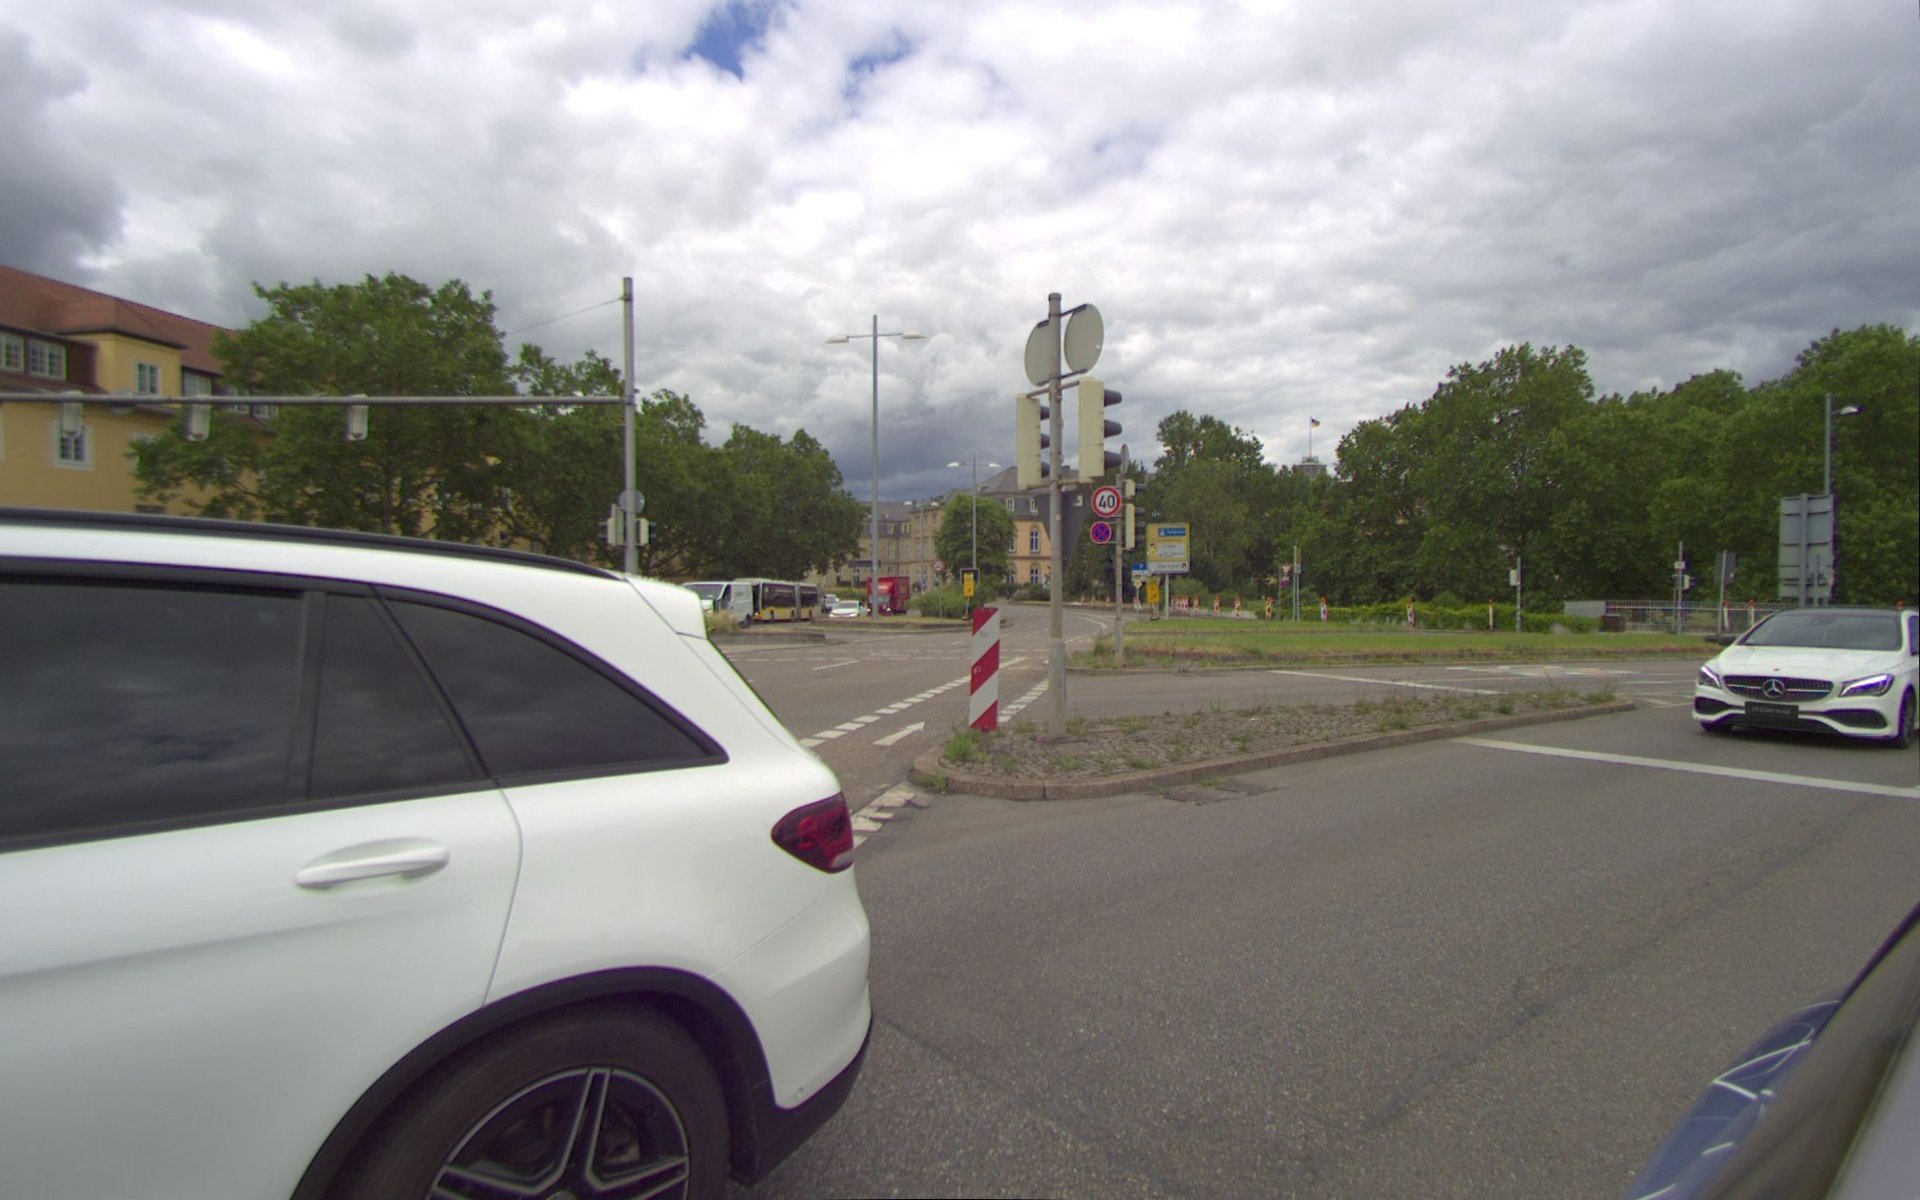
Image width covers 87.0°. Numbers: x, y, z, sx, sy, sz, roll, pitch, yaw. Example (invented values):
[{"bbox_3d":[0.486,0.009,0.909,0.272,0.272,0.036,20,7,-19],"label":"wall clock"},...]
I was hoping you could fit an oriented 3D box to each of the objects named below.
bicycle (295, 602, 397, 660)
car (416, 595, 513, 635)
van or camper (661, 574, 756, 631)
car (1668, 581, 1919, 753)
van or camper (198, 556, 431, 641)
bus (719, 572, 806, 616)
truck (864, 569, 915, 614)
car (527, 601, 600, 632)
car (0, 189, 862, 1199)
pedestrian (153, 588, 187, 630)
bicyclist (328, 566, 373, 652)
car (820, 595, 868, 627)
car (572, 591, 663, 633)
[{"bbox_3d":[-12.001,0.597,19.835,1.694,1.086,0.506,0,0,-30],"label":"bicycle"},{"bbox_3d":[-18.098,0.505,37.106,1.588,1.372,3.479,0,0,6],"label":"car"},{"bbox_3d":[-9.098,0.078,37.030,1.834,1.941,4.704,0,0,7],"label":"van or camper"},{"bbox_3d":[10.003,0.608,11.446,4.564,1.589,1.871,0,0,-36],"label":"car"},{"bbox_3d":[-19.204,-0.072,30.609,2.337,2.291,6.269,0,0,10],"label":"van or camper"},{"bbox_3d":[-15.654,-0.492,81.654,3.375,3.244,13.045,0,1,5],"label":"bus"},{"bbox_3d":[-5.820,-0.700,84.565,2.744,3.534,8.334,0,0,7],"label":"truck"},{"bbox_3d":[-17.317,0.691,44.291,1.596,1.251,3.231,0,0,8],"label":"car"},{"bbox_3d":[-2.398,0.292,1.480,4.259,1.667,1.805,0,0,-42],"label":"car"},{"bbox_3d":[-26.191,0.299,33.575,0.669,1.397,0.578,0,0,6],"label":"pedestrian"},{"bbox_3d":[-11.966,0.171,19.870,0.707,1.660,0.506,1,0,-28],"label":"bicyclist"},{"bbox_3d":[-6.816,0.632,59.944,1.966,1.776,3.952,0,0,7],"label":"car"},{"bbox_3d":[-12.125,0.386,36.053,1.710,1.417,3.706,0,0,5],"label":"car"}]
